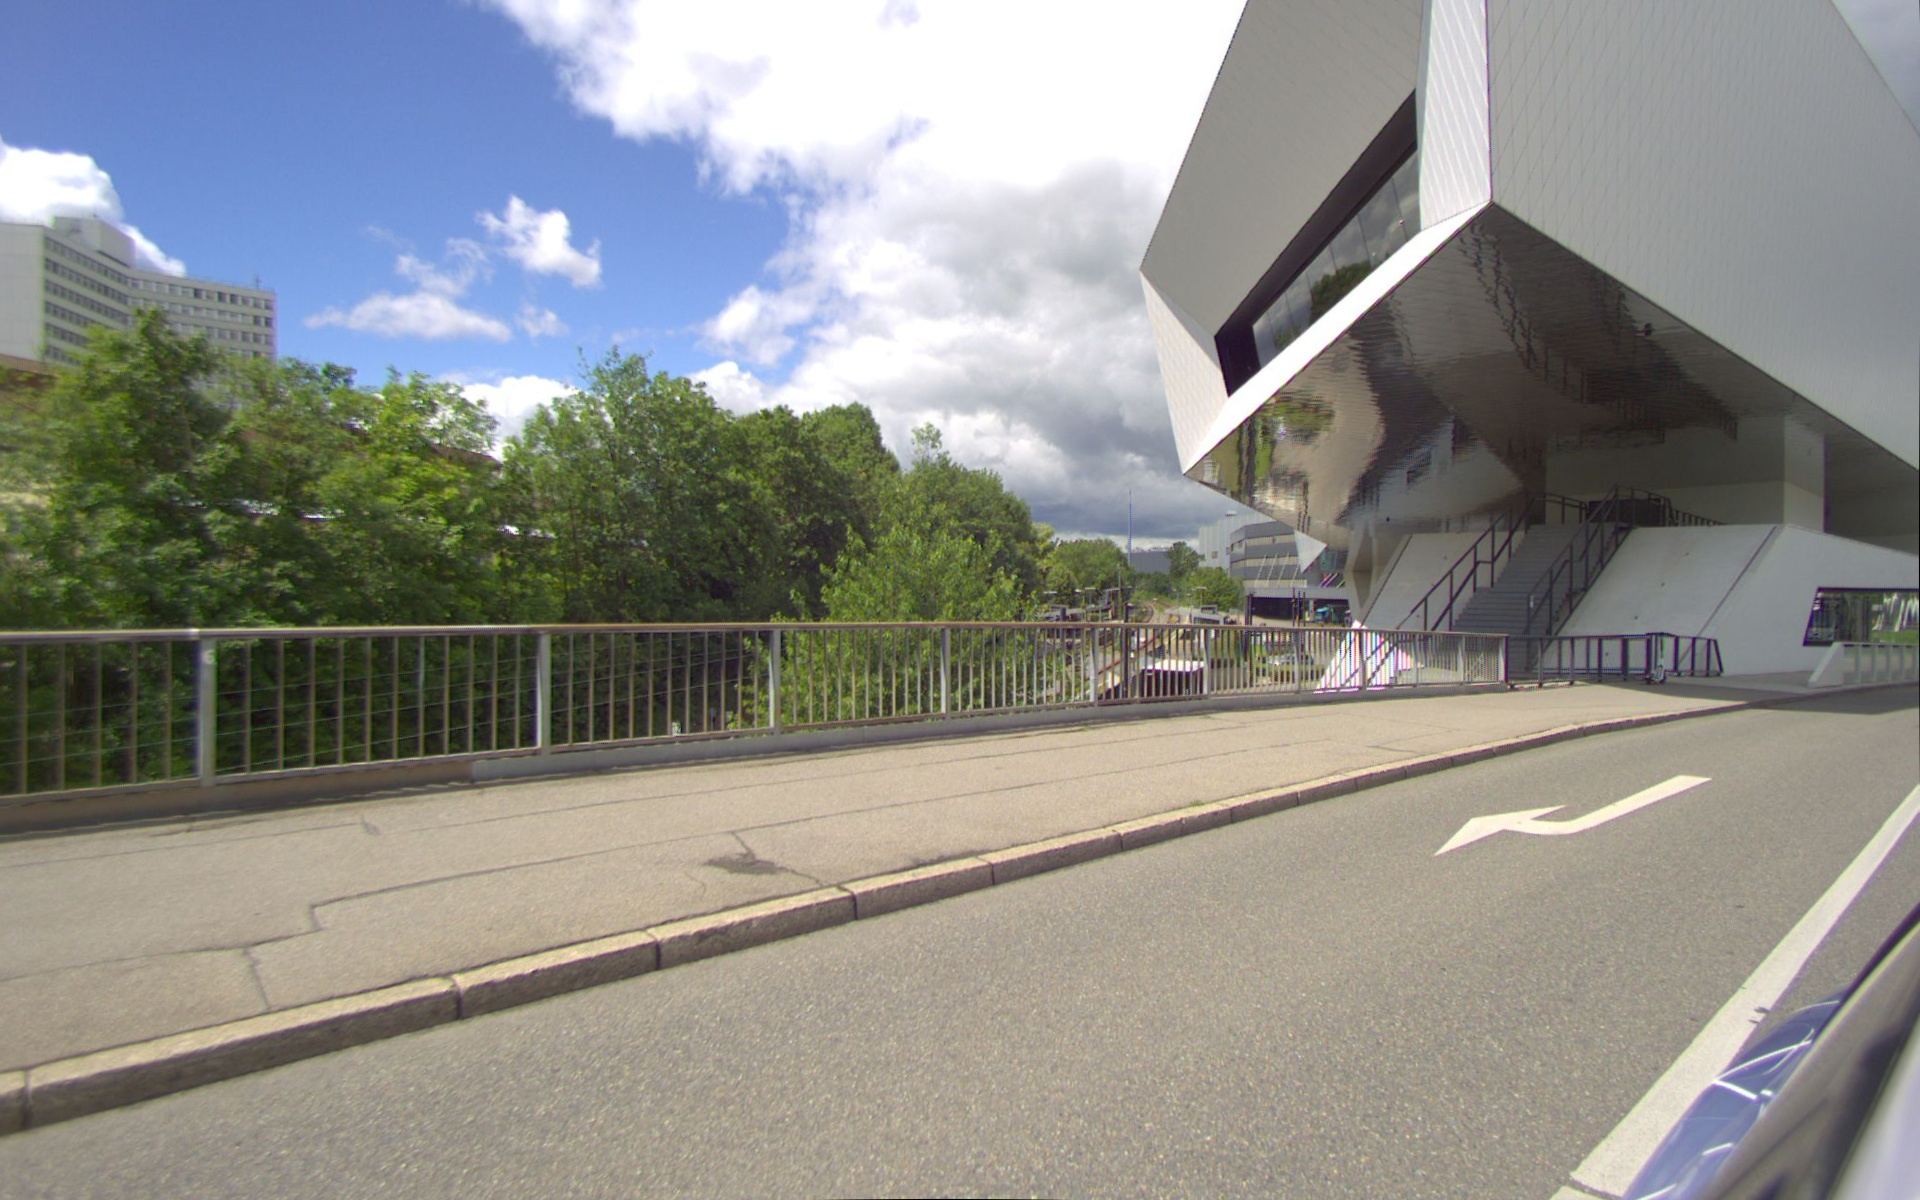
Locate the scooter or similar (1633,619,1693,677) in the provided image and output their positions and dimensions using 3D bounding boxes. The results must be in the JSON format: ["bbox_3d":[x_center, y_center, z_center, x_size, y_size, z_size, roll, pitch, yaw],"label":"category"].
[{"bbox_3d":[15.634,1.049,22.481,1.825,1.229,0.654,2,0,-41],"label":"scooter or similar"}]
